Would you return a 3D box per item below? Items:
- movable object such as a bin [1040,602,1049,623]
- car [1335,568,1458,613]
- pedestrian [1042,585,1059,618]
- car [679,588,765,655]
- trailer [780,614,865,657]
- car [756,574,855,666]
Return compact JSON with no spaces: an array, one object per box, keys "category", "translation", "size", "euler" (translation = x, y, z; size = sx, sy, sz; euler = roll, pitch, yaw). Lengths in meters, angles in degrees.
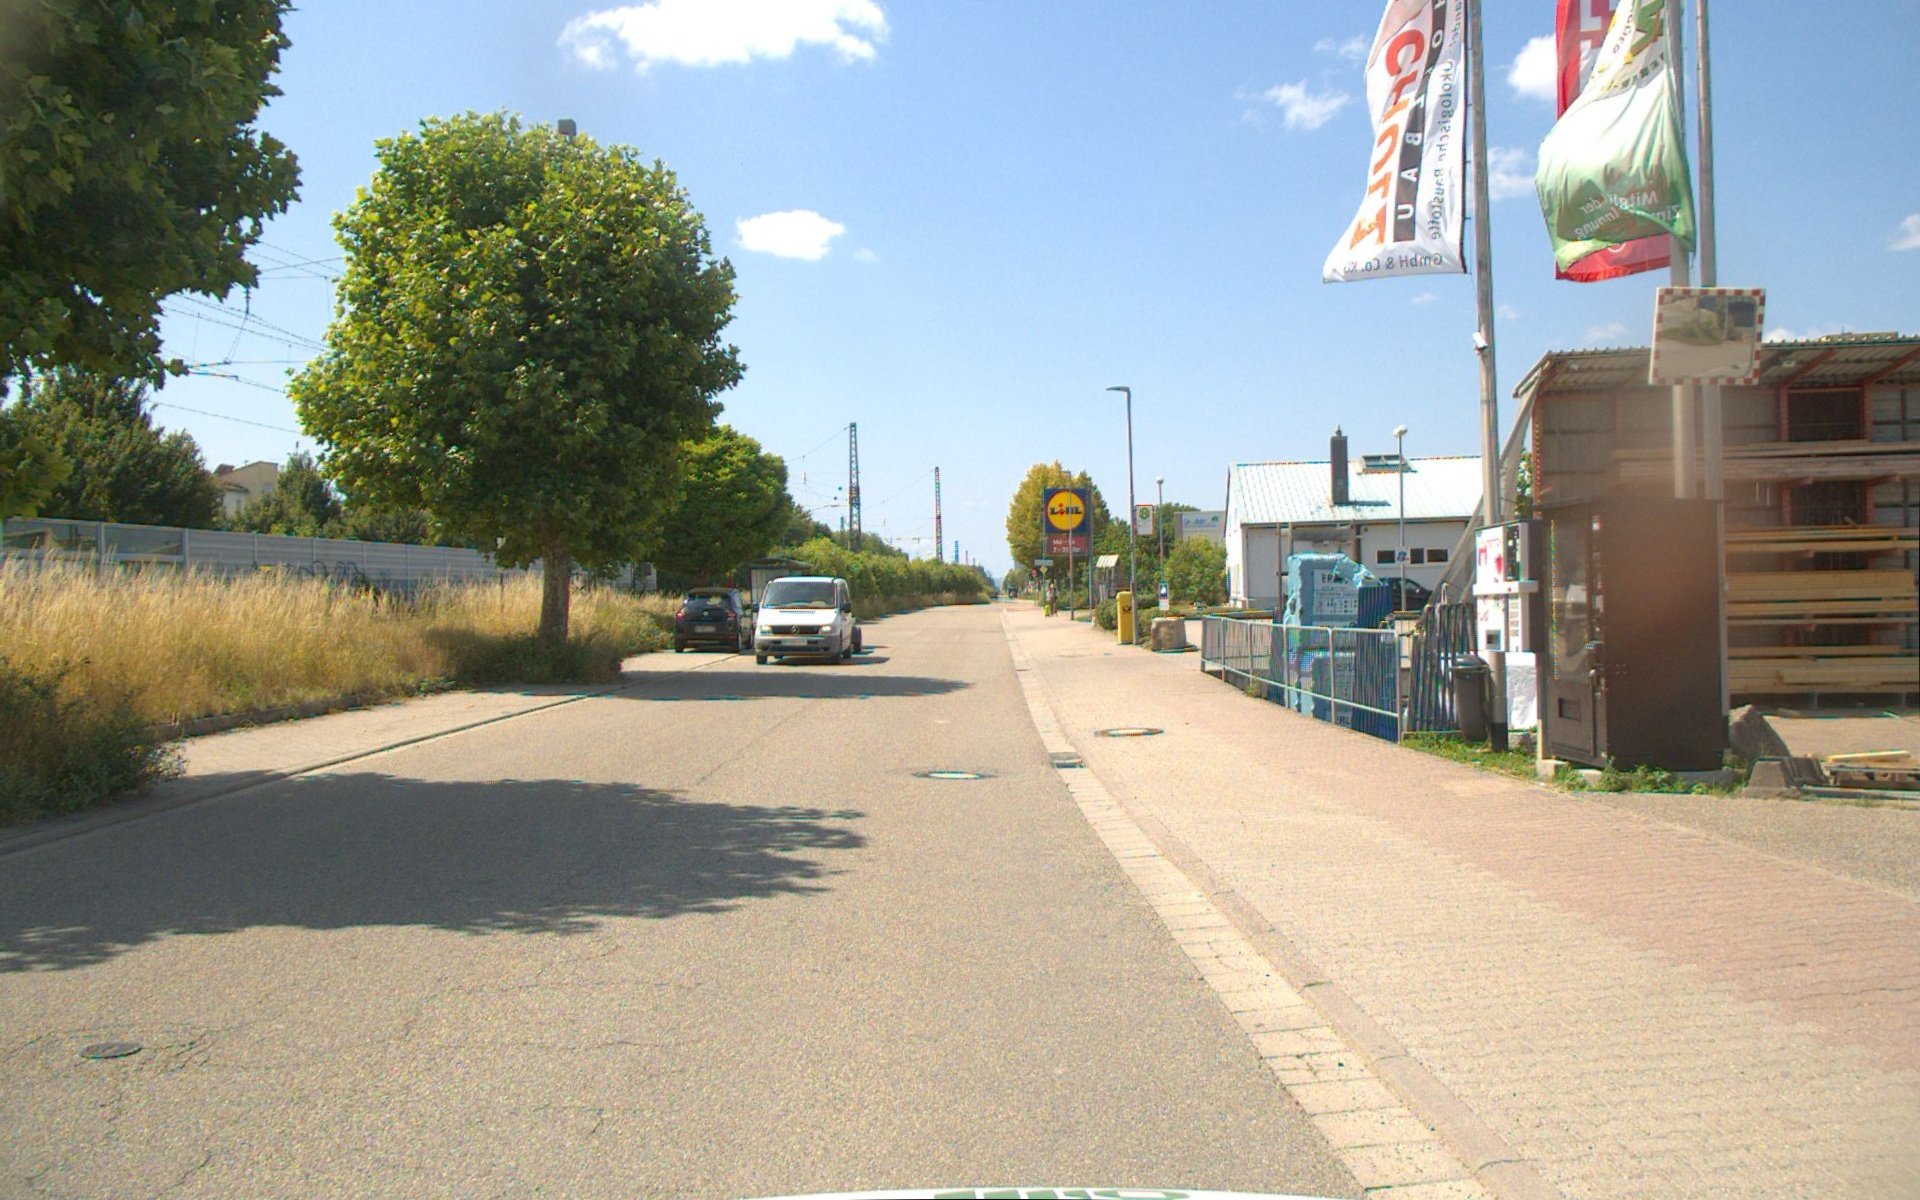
[{"category":"movable object such as a bin","translation":[4.227,0.626,83.219],"size":[0.367,1.048,0.498],"euler":[-2,0,-4]},{"category":"car","translation":[16.090,-0.350,60.985],"size":[3.921,1.520,1.992],"euler":[-1,0,-16]},{"category":"pedestrian","translation":[4.590,0.069,83.769],"size":[0.746,1.630,1.210],"euler":[-1,0,-2]},{"category":"car","translation":[-6.004,0.519,42.067],"size":[1.706,1.624,3.578],"euler":[-1,0,-1]},{"category":"trailer","translation":[-3.383,0.865,41.299],"size":[1.781,0.865,4.222],"euler":[-2,1,-1]},{"category":"car","translation":[-3.382,0.418,36.886],"size":[1.801,1.890,4.483],"euler":[-1,0,0]}]
